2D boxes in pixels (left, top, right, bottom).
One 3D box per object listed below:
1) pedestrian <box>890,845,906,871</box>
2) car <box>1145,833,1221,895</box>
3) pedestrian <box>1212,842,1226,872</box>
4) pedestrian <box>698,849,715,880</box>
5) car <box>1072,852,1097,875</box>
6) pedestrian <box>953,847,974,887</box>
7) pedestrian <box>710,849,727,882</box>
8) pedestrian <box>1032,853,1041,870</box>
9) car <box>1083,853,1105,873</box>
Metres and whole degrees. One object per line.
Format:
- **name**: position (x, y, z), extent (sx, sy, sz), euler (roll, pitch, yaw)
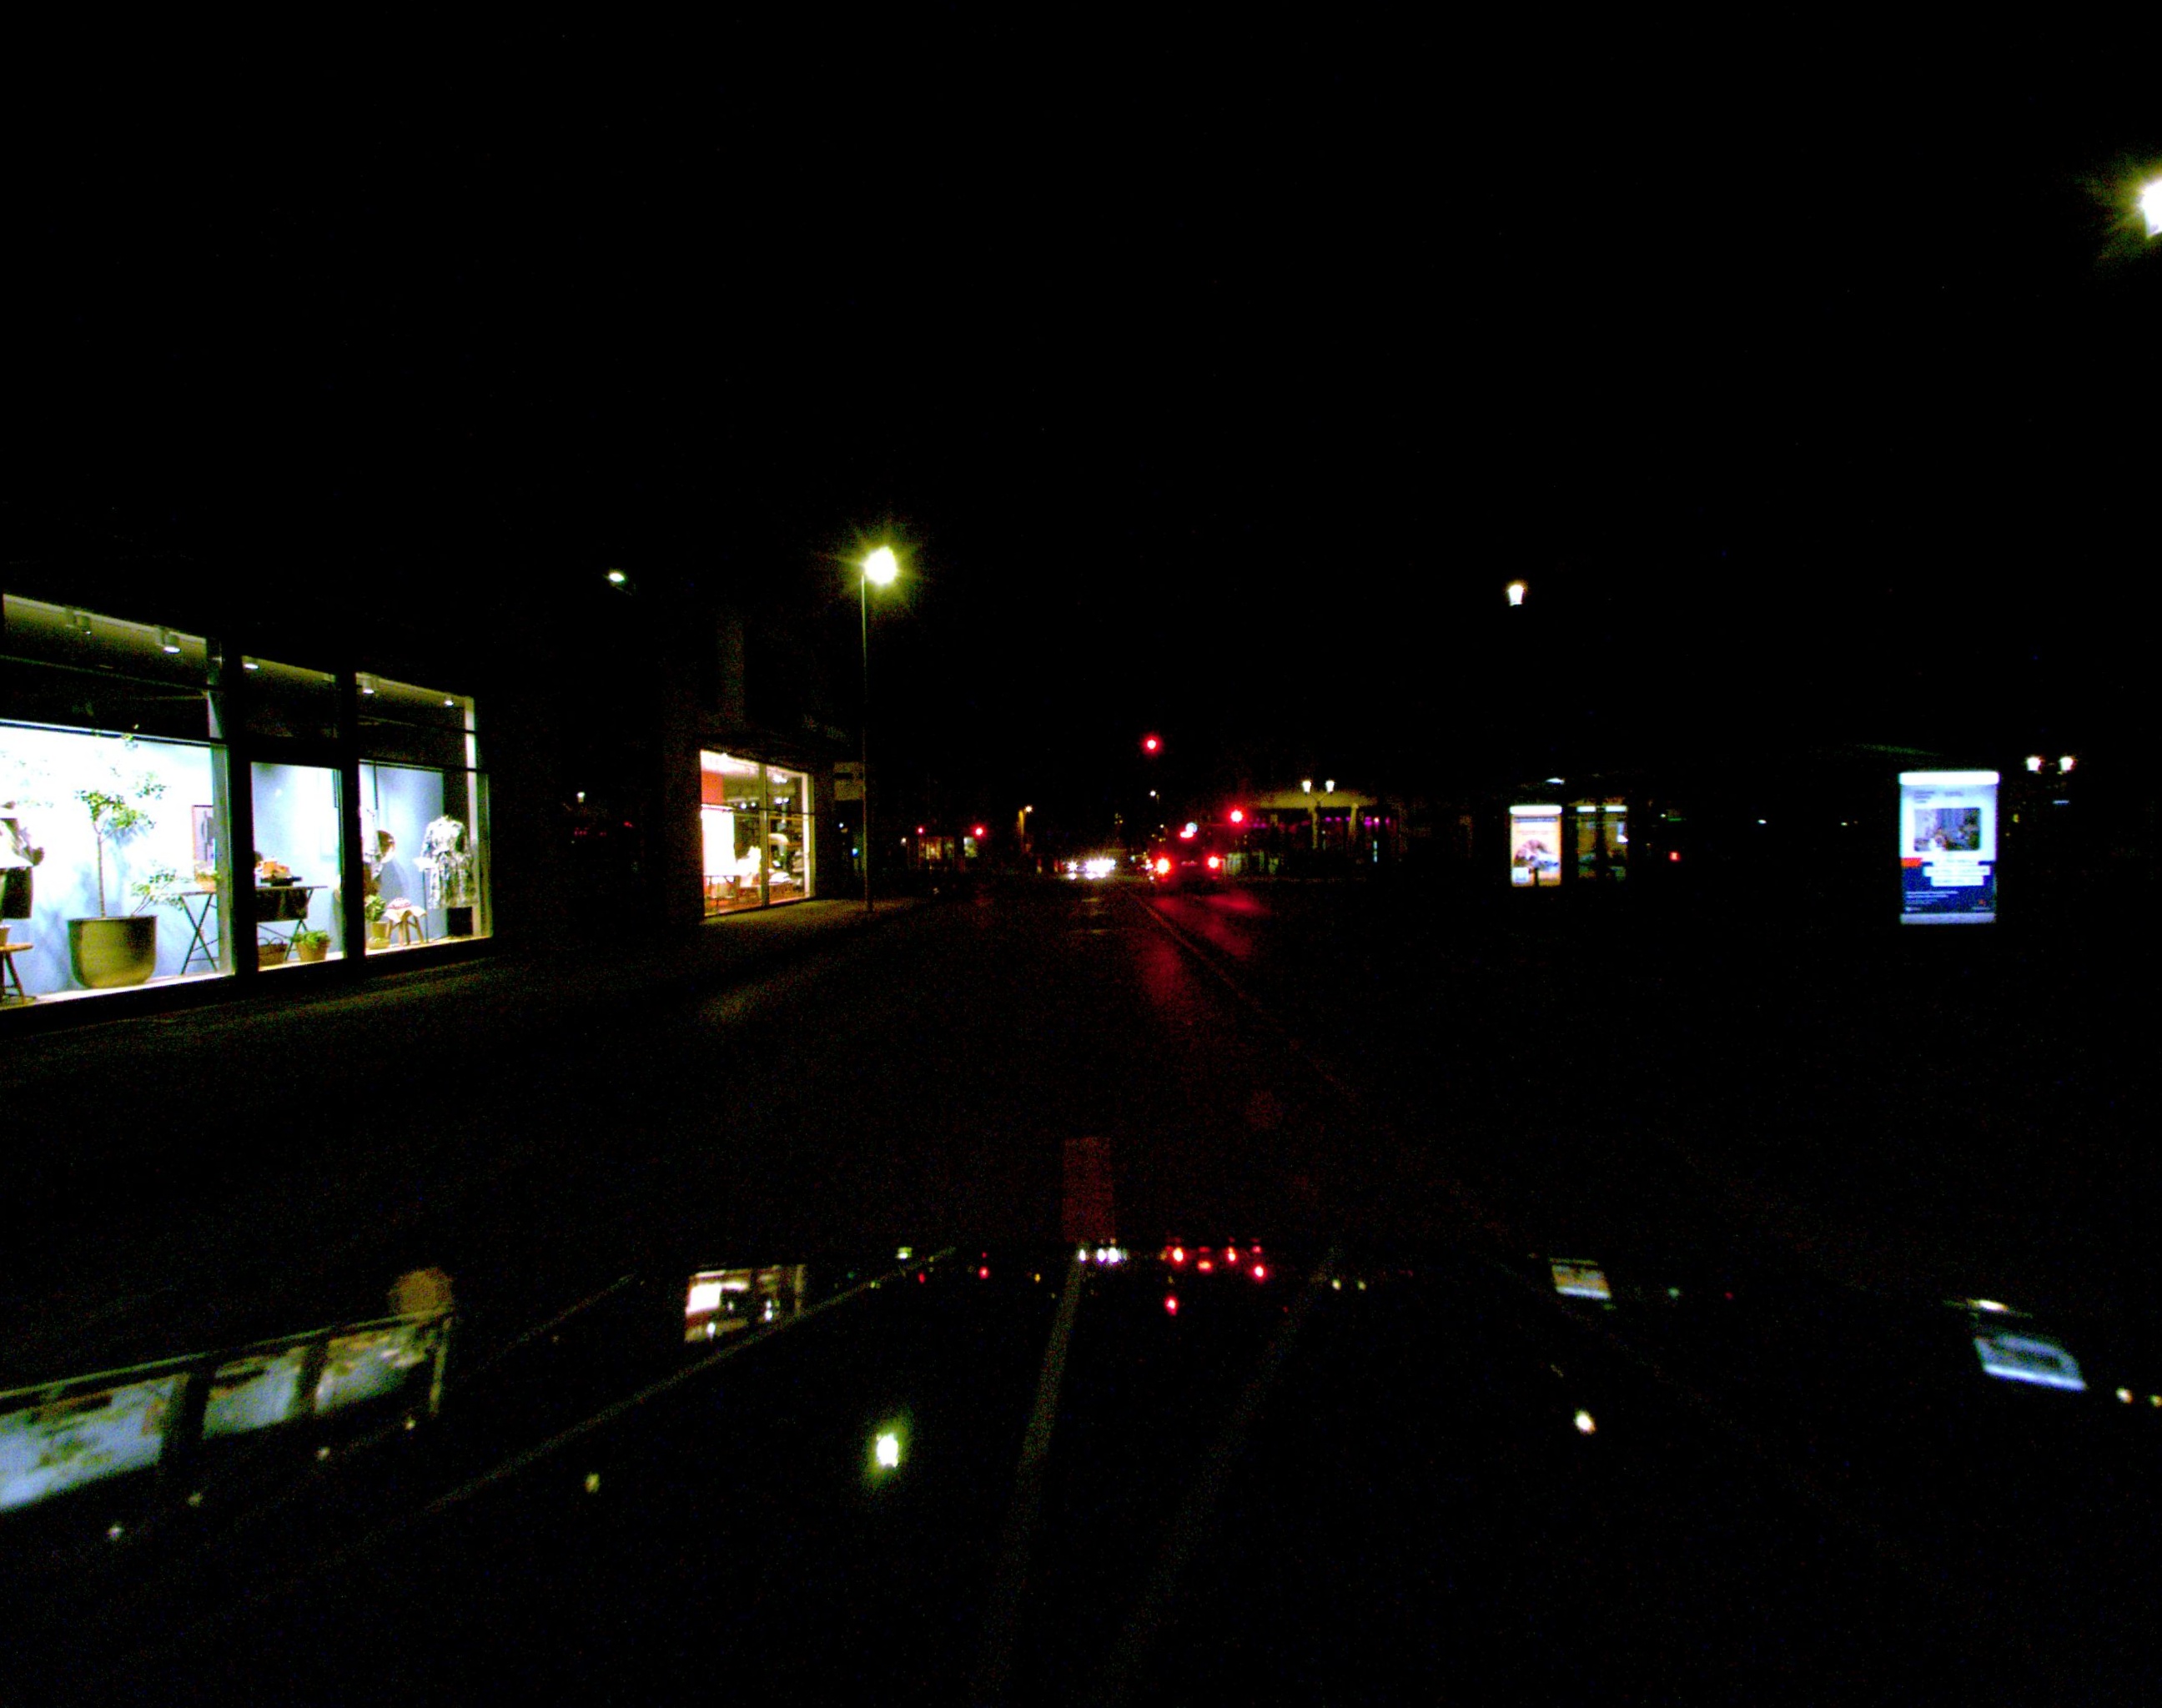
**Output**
- **pedestrian**: position (-12.360, 0.244, 51.354), extent (0.877, 1.723, 0.647), euler (0, 1, 4)
- **car**: position (3.352, 0.279, 25.888), extent (1.971, 1.861, 4.911), euler (-1, 1, 1)
- **pedestrian**: position (7.488, 0.158, 41.194), extent (0.646, 1.619, 0.583), euler (-2, 1, 11)
- **pedestrian**: position (-20.840, 0.593, 42.325), extent (0.567, 1.707, 0.567), euler (-2, 1, 7)
- **car**: position (0.276, 0.702, 60.277), extent (1.713, 1.660, 3.738), euler (-2, 1, 3)
- **pedestrian**: position (-5.044, 0.569, 32.685), extent (0.539, 1.672, 0.648), euler (-2, 1, 23)
- **pedestrian**: position (-19.621, 0.620, 41.143), extent (0.524, 1.707, 0.567), euler (-2, 1, 8)
- **pedestrian**: position (-3.833, 0.645, 65.286), extent (0.647, 1.487, 0.830), euler (0, 1, 2)
- **car**: position (1.209, 0.776, 70.856), extent (1.879, 1.718, 3.999), euler (-2, 1, 1)
